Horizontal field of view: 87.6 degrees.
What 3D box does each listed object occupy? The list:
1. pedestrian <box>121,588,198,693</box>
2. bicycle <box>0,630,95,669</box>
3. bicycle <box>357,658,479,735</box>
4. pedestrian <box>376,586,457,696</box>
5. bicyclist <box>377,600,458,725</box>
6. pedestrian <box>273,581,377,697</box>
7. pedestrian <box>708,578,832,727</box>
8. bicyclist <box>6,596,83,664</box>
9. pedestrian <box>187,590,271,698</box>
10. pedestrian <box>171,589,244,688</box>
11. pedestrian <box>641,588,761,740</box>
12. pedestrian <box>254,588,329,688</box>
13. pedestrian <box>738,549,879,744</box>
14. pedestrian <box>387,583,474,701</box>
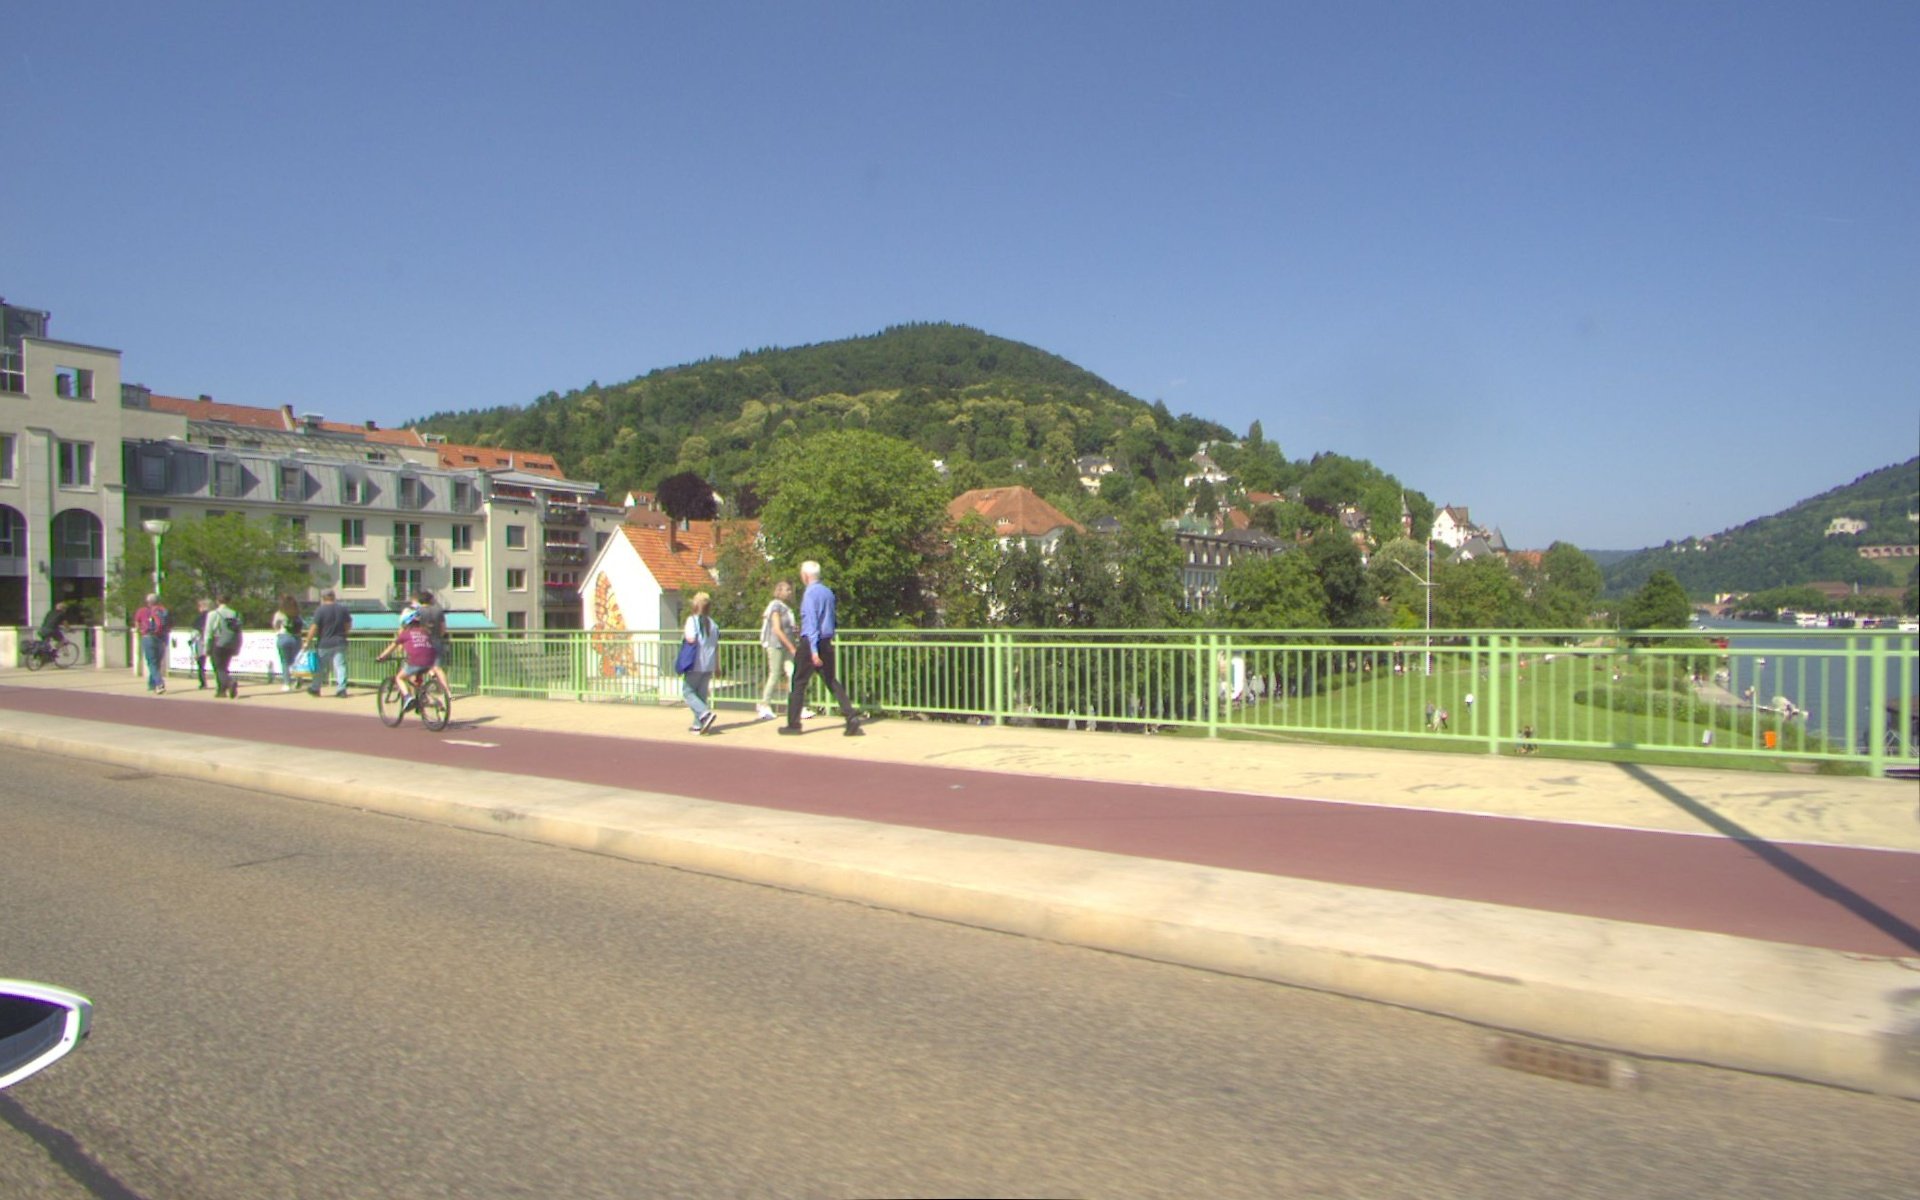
[{"bbox_3d":[-14.414,0.716,18.041,1.001,1.826,0.737,0,2,32],"label":"pedestrian"},{"bbox_3d":[-23.609,1.256,25.844,0.785,0.894,1.827,-1,0,10],"label":"bicycle"},{"bbox_3d":[-6.344,1.105,11.699,1.637,0.776,0.512,-1,1,33],"label":"bicycle"},{"bbox_3d":[-8.902,0.651,16.405,1.001,1.741,0.737,0,1,32],"label":"pedestrian"},{"bbox_3d":[-6.312,0.706,11.655,0.659,1.402,0.532,0,2,32],"label":"bicyclist"},{"bbox_3d":[-10.366,0.614,16.356,1.190,1.801,0.975,0,2,32],"label":"pedestrian"},{"bbox_3d":[-2.260,0.591,11.958,1.067,1.685,0.945,0,2,32],"label":"pedestrian"},{"bbox_3d":[-23.612,0.768,25.841,1.121,1.718,0.924,-1,1,9],"label":"bicyclist"},{"bbox_3d":[-12.236,0.713,16.772,1.058,1.741,0.753,0,2,32],"label":"pedestrian"},{"bbox_3d":[-14.139,0.706,18.817,1.001,1.801,0.737,0,2,32],"label":"pedestrian"},{"bbox_3d":[-2.796,0.661,10.842,0.919,1.550,0.827,0,2,32],"label":"pedestrian"},{"bbox_3d":[-12.165,0.672,18.221,1.001,1.770,0.737,0,2,32],"label":"pedestrian"},{"bbox_3d":[-1.584,0.464,10.551,1.121,1.923,0.924,0,1,32],"label":"pedestrian"},{"bbox_3d":[-8.146,0.621,15.407,1.001,1.741,0.737,0,2,32],"label":"pedestrian"}]
